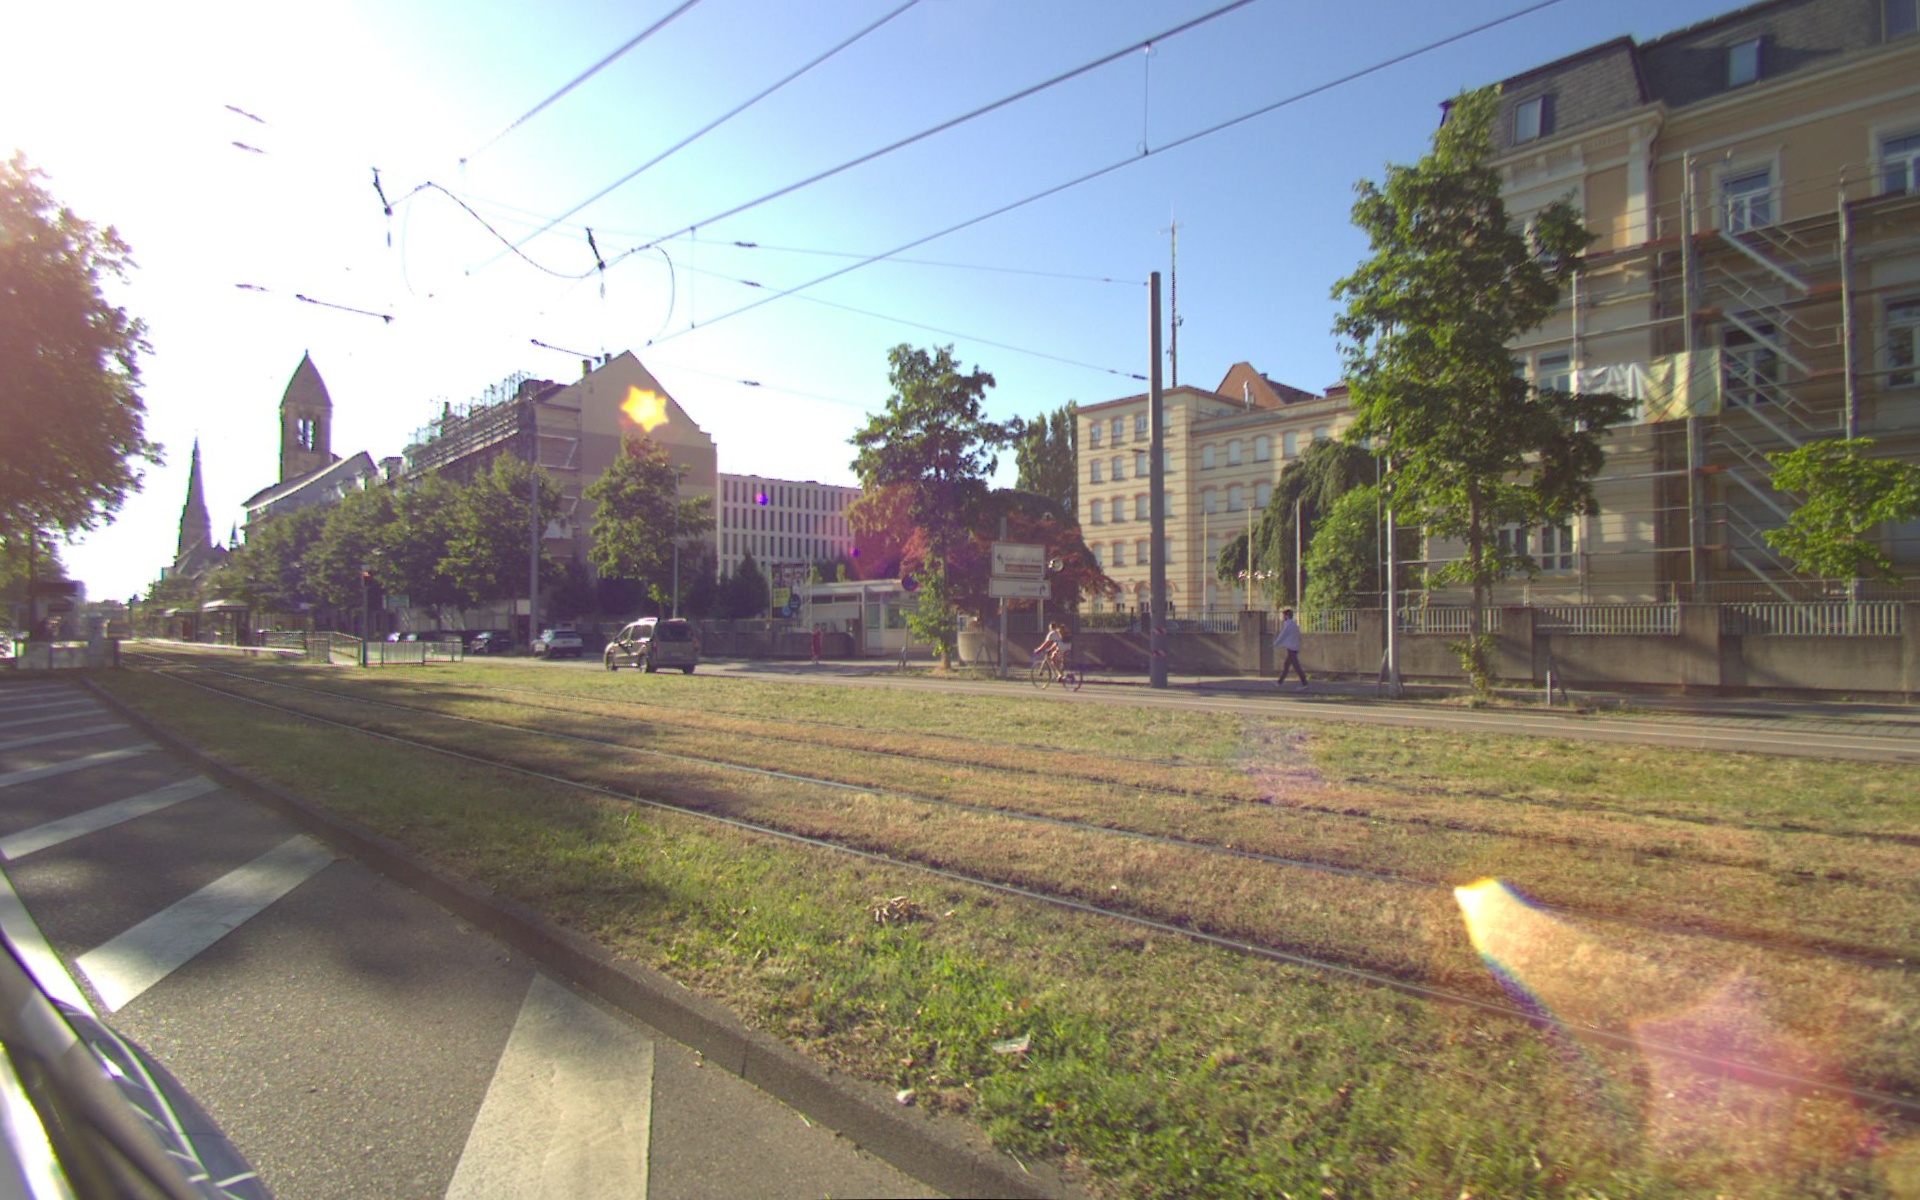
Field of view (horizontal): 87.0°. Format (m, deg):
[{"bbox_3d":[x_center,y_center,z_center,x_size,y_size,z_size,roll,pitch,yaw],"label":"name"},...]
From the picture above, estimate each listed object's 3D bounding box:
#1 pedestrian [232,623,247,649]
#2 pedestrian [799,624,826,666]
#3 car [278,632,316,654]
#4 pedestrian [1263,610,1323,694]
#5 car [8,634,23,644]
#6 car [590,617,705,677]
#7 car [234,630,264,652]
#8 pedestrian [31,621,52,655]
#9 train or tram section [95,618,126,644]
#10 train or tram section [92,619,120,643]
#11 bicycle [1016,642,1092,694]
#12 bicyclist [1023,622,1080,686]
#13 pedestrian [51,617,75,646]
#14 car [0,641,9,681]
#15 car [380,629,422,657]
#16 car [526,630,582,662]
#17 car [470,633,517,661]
[{"bbox_3d":[-47.722,2.391,67.026,0.671,1.703,0.655,-1,-1,-45],"label":"pedestrian"},{"bbox_3d":[-6.012,1.836,41.375,0.812,1.660,0.716,-2,-4,41],"label":"pedestrian"},{"bbox_3d":[-45.398,2.914,69.277,1.587,1.418,3.855,-1,-1,-42],"label":"car"},{"bbox_3d":[7.935,1.232,24.098,0.848,1.942,1.087,3,-4,-44],"label":"pedestrian"},{"bbox_3d":[-140.663,5.807,150.730,1.613,1.511,4.004,4,-4,-42],"label":"car"},{"bbox_3d":[-10.802,1.586,34.837,1.916,1.933,4.475,2,-3,-45],"label":"car"},{"bbox_3d":[-64.467,3.695,91.773,1.841,1.819,4.033,-1,-1,-41],"label":"car"},{"bbox_3d":[-45.976,1.894,50.648,0.748,1.703,0.679,-1,-1,-43],"label":"pedestrian"},{"bbox_3d":[-124.465,4.527,148.218,2.835,3.714,14.577,1,-2,-42],"label":"train or tram section"},{"bbox_3d":[-134.216,4.914,159.026,2.835,3.704,14.577,1,-2,-42],"label":"train or tram section"},{"bbox_3d":[2.295,1.650,24.890,0.765,1.202,1.757,-1,-1,-43],"label":"bicycle"},{"bbox_3d":[2.254,1.317,24.936,0.765,1.492,1.135,-1,-1,-43],"label":"bicyclist"},{"bbox_3d":[-55.738,1.951,62.885,0.625,1.735,0.906,-2,-1,14],"label":"pedestrian"},{"bbox_3d":[-49.077,3.045,50.481,4.470,1.933,1.919,-1,0,41],"label":"car"},{"bbox_3d":[-43.208,3.323,78.192,1.969,2.029,4.006,-1,-1,-41],"label":"car"},{"bbox_3d":[-22.011,2.453,54.756,1.699,1.598,4.073,-1,-1,-38],"label":"car"},{"bbox_3d":[-29.115,2.913,63.089,1.699,1.598,4.073,-1,-1,-38],"label":"car"}]
